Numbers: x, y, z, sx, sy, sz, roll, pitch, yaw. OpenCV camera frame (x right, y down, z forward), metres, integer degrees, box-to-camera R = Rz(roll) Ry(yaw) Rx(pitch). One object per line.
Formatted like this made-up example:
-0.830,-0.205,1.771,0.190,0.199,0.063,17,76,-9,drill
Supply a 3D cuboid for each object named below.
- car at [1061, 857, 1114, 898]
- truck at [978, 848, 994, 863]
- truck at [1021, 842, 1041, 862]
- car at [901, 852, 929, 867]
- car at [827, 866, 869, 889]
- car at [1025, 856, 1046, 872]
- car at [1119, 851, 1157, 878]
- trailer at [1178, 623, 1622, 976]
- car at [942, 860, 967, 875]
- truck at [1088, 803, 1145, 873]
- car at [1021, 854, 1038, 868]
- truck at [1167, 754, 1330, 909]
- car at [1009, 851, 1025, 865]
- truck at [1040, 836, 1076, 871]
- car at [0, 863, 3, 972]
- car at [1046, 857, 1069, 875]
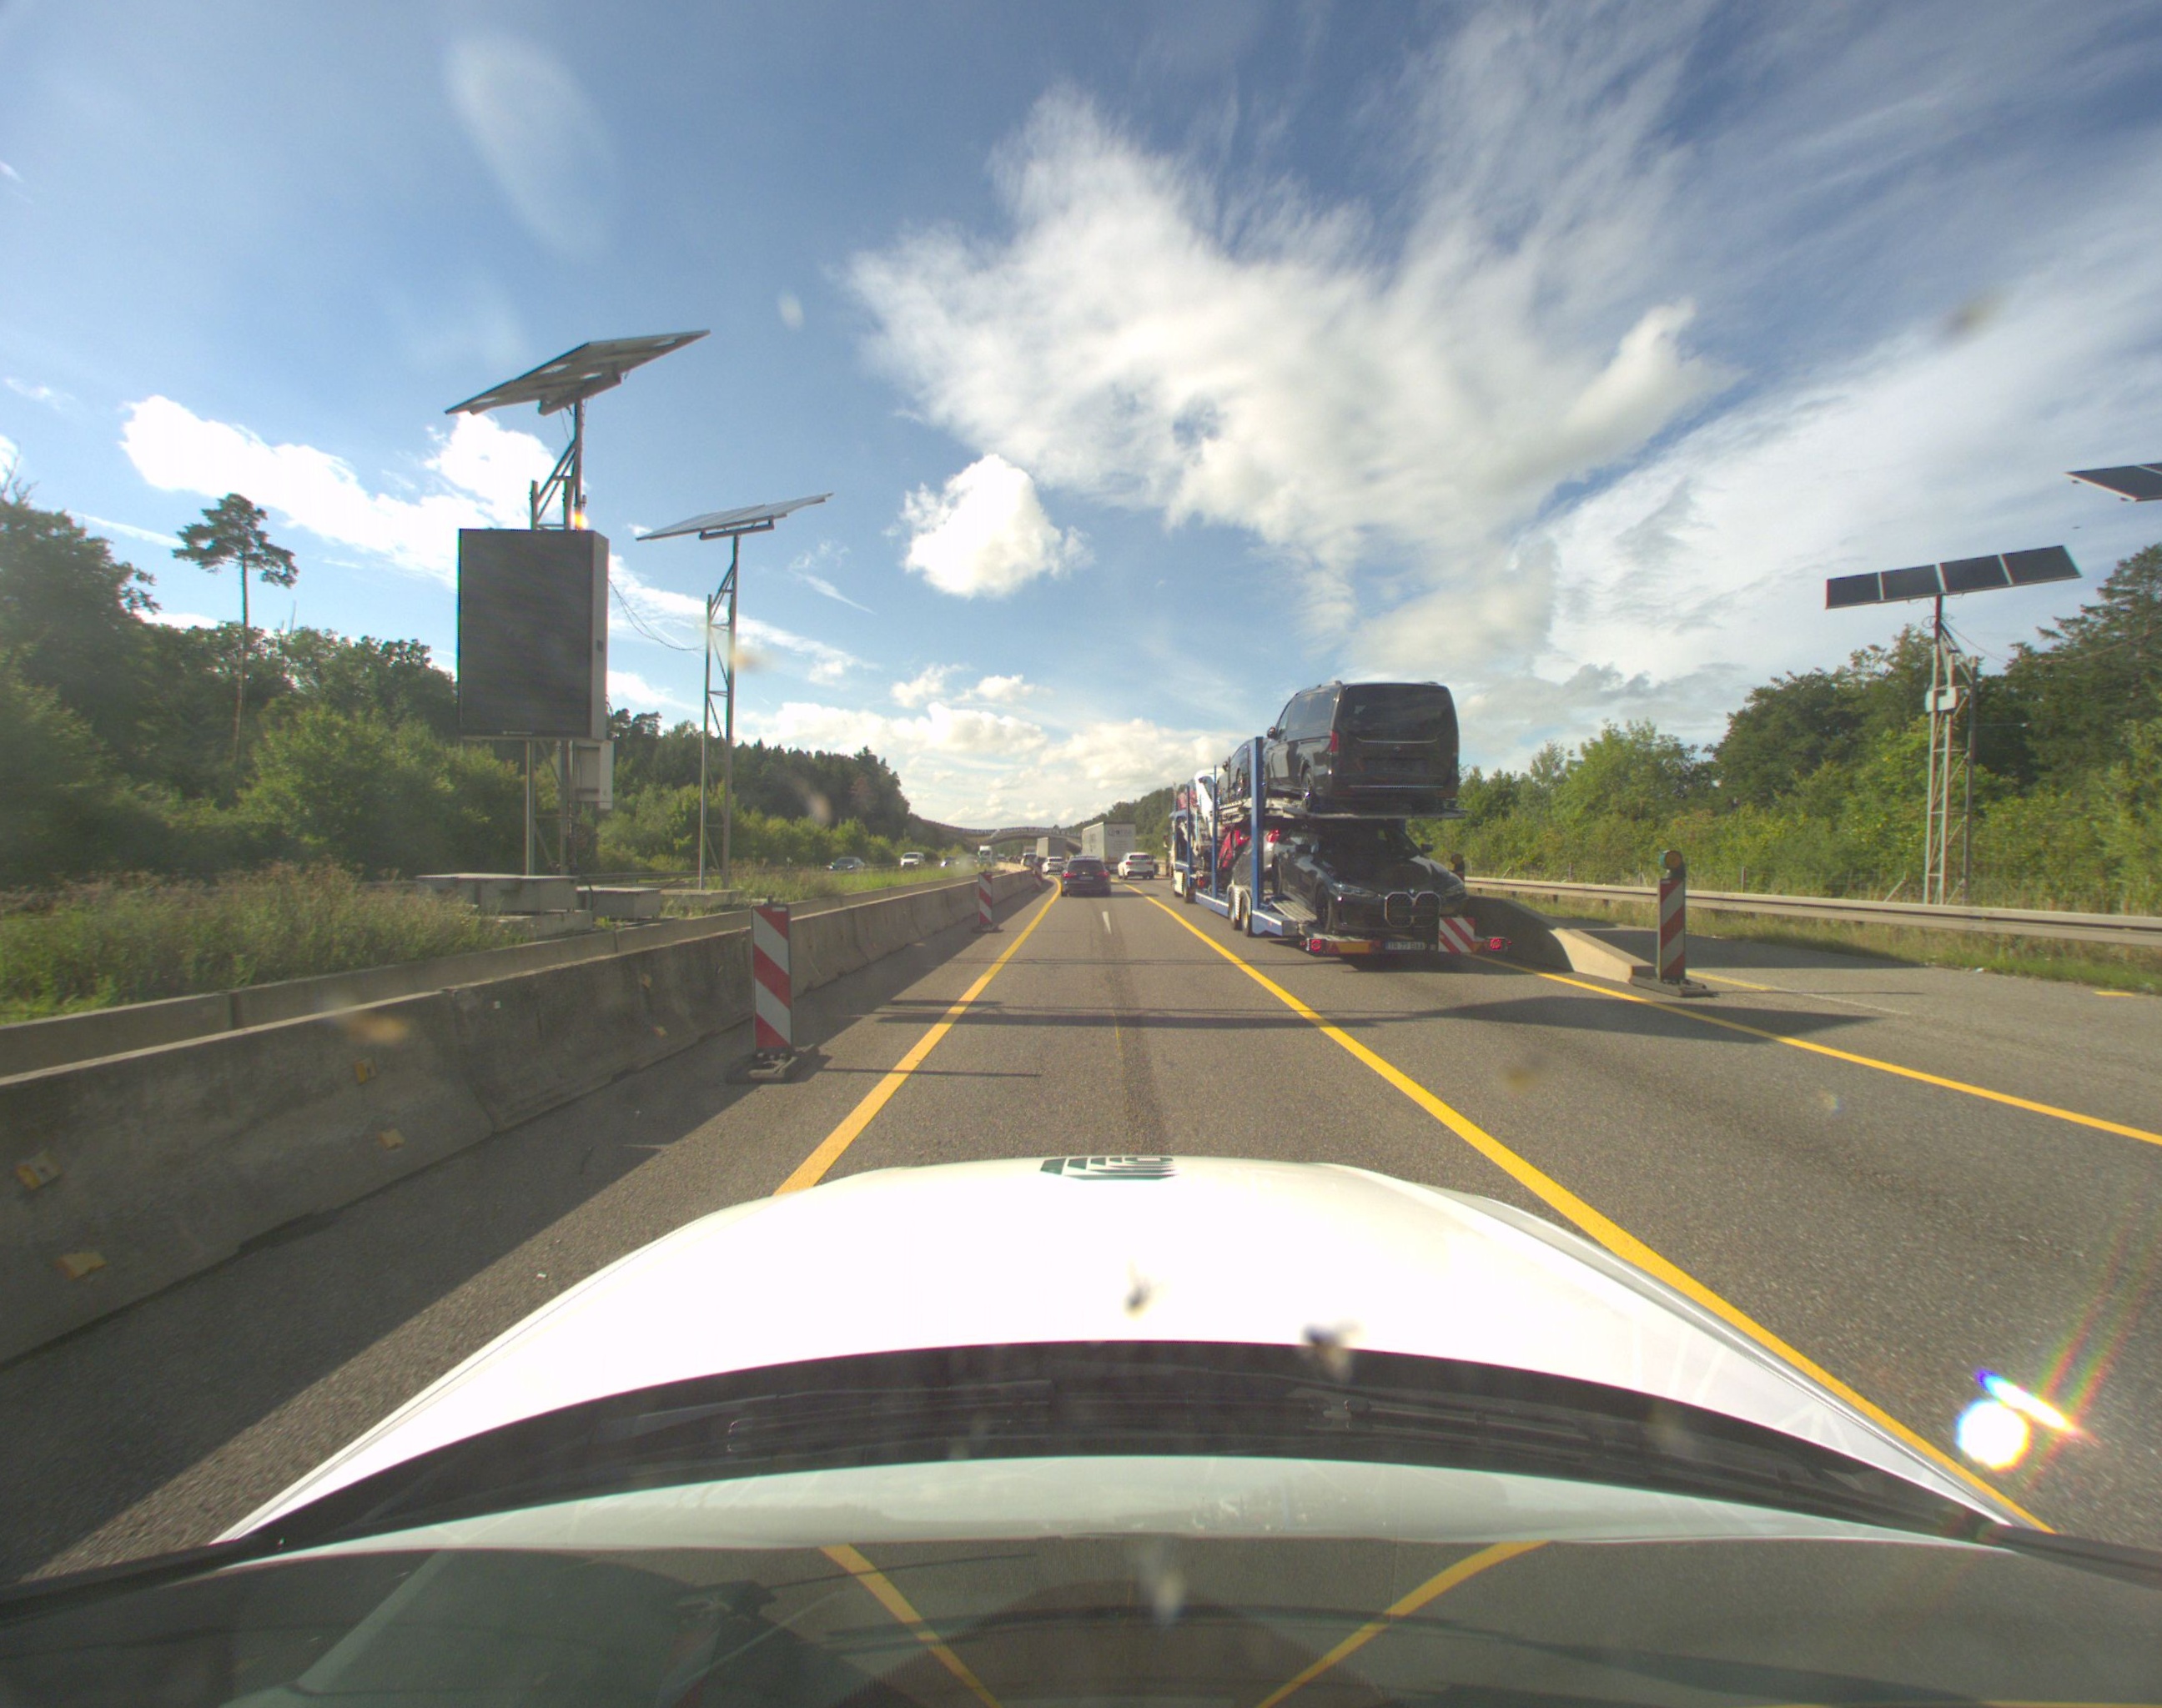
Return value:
0.232,0.838,30.871,1.884,1.446,3.999,0,0,0,car
-20.372,0.330,174.583,2.748,3.299,5.811,0,0,-1,truck
-10.756,-0.390,173.397,3.651,3.928,11.040,0,0,-7,truck
-17.726,0.600,87.022,1.962,1.602,4.947,0,0,0,car
-17.270,1.739,60.672,1.772,1.602,4.676,0,0,0,car
-4.785,1.076,85.978,1.889,1.643,4.006,0,0,-8,car
3.474,0.625,50.638,1.886,1.643,4.013,0,0,-3,car
4.782,-0.631,17.857,3.713,4.196,16.231,0,0,1,trailer
-14.213,1.488,91.668,1.962,1.602,4.947,0,0,0,car
2.821,-1.207,70.682,3.668,5.353,16.188,0,0,-2,truck
-6.421,0.824,101.195,1.888,1.643,4.008,0,0,-7,car
4.983,-0.606,26.144,3.748,4.196,7.953,0,0,1,truck
-9.378,0.588,119.269,1.993,2.014,3.987,0,0,-10,car
-3.344,-0.026,114.215,4.314,4.600,11.101,0,0,-6,truck
-16.960,0.934,9.734,1.770,1.602,4.680,0,0,3,car
-1.970,0.957,67.858,1.886,1.446,3.996,0,0,-2,car
